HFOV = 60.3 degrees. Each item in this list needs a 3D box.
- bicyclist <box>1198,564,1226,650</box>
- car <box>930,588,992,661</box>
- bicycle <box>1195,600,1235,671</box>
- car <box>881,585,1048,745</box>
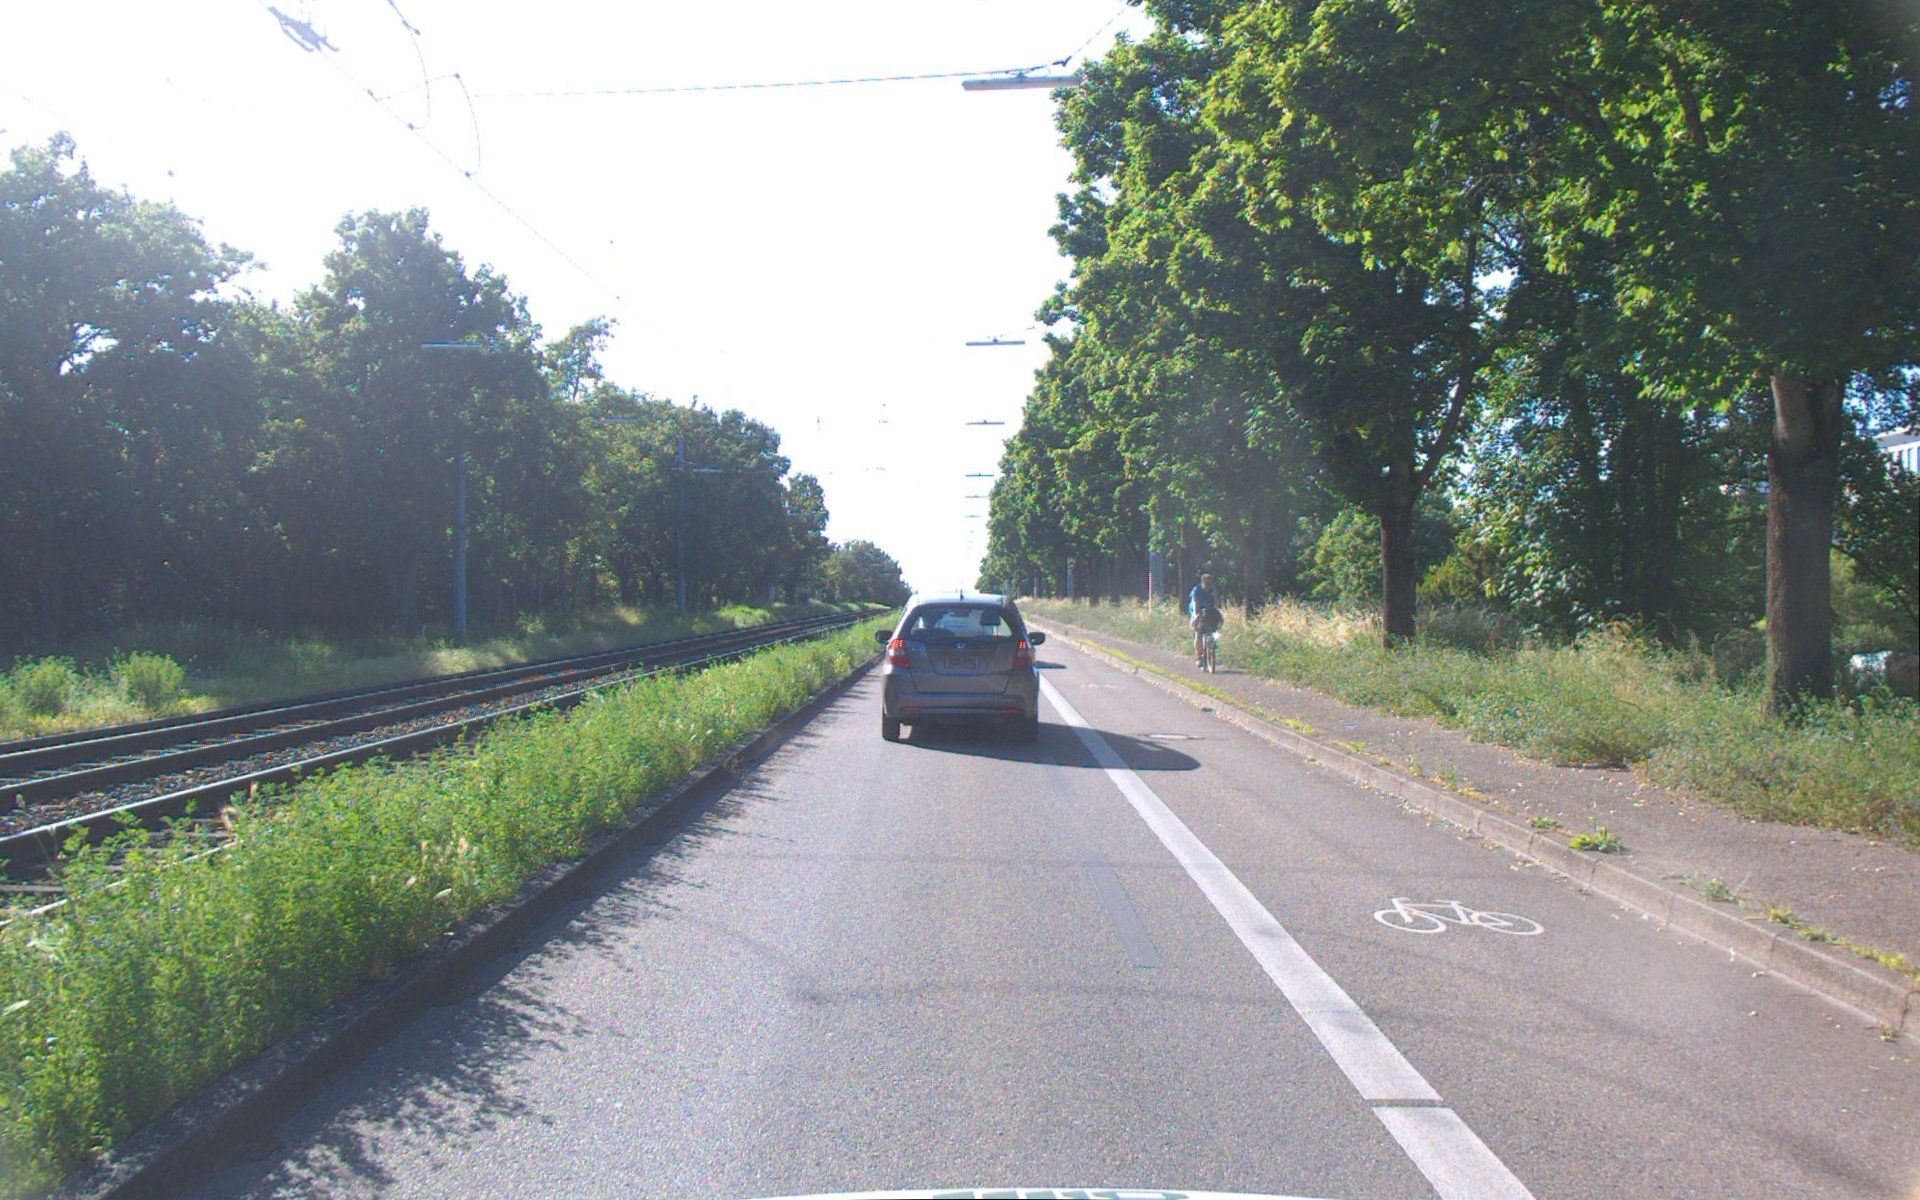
[{"bbox_3d":[4.548,0.129,29.910,0.397,1.533,0.574,-1,0,-1],"label":"bicyclist"},{"bbox_3d":[0.050,0.556,37.626,1.323,1.554,3.123,-1,-1,1],"label":"car"},{"bbox_3d":[4.549,0.612,29.564,0.410,1.209,1.721,-1,0,-1],"label":"bicycle"},{"bbox_3d":[0.014,0.631,18.401,1.637,1.542,3.673,1,1,-1],"label":"car"}]
